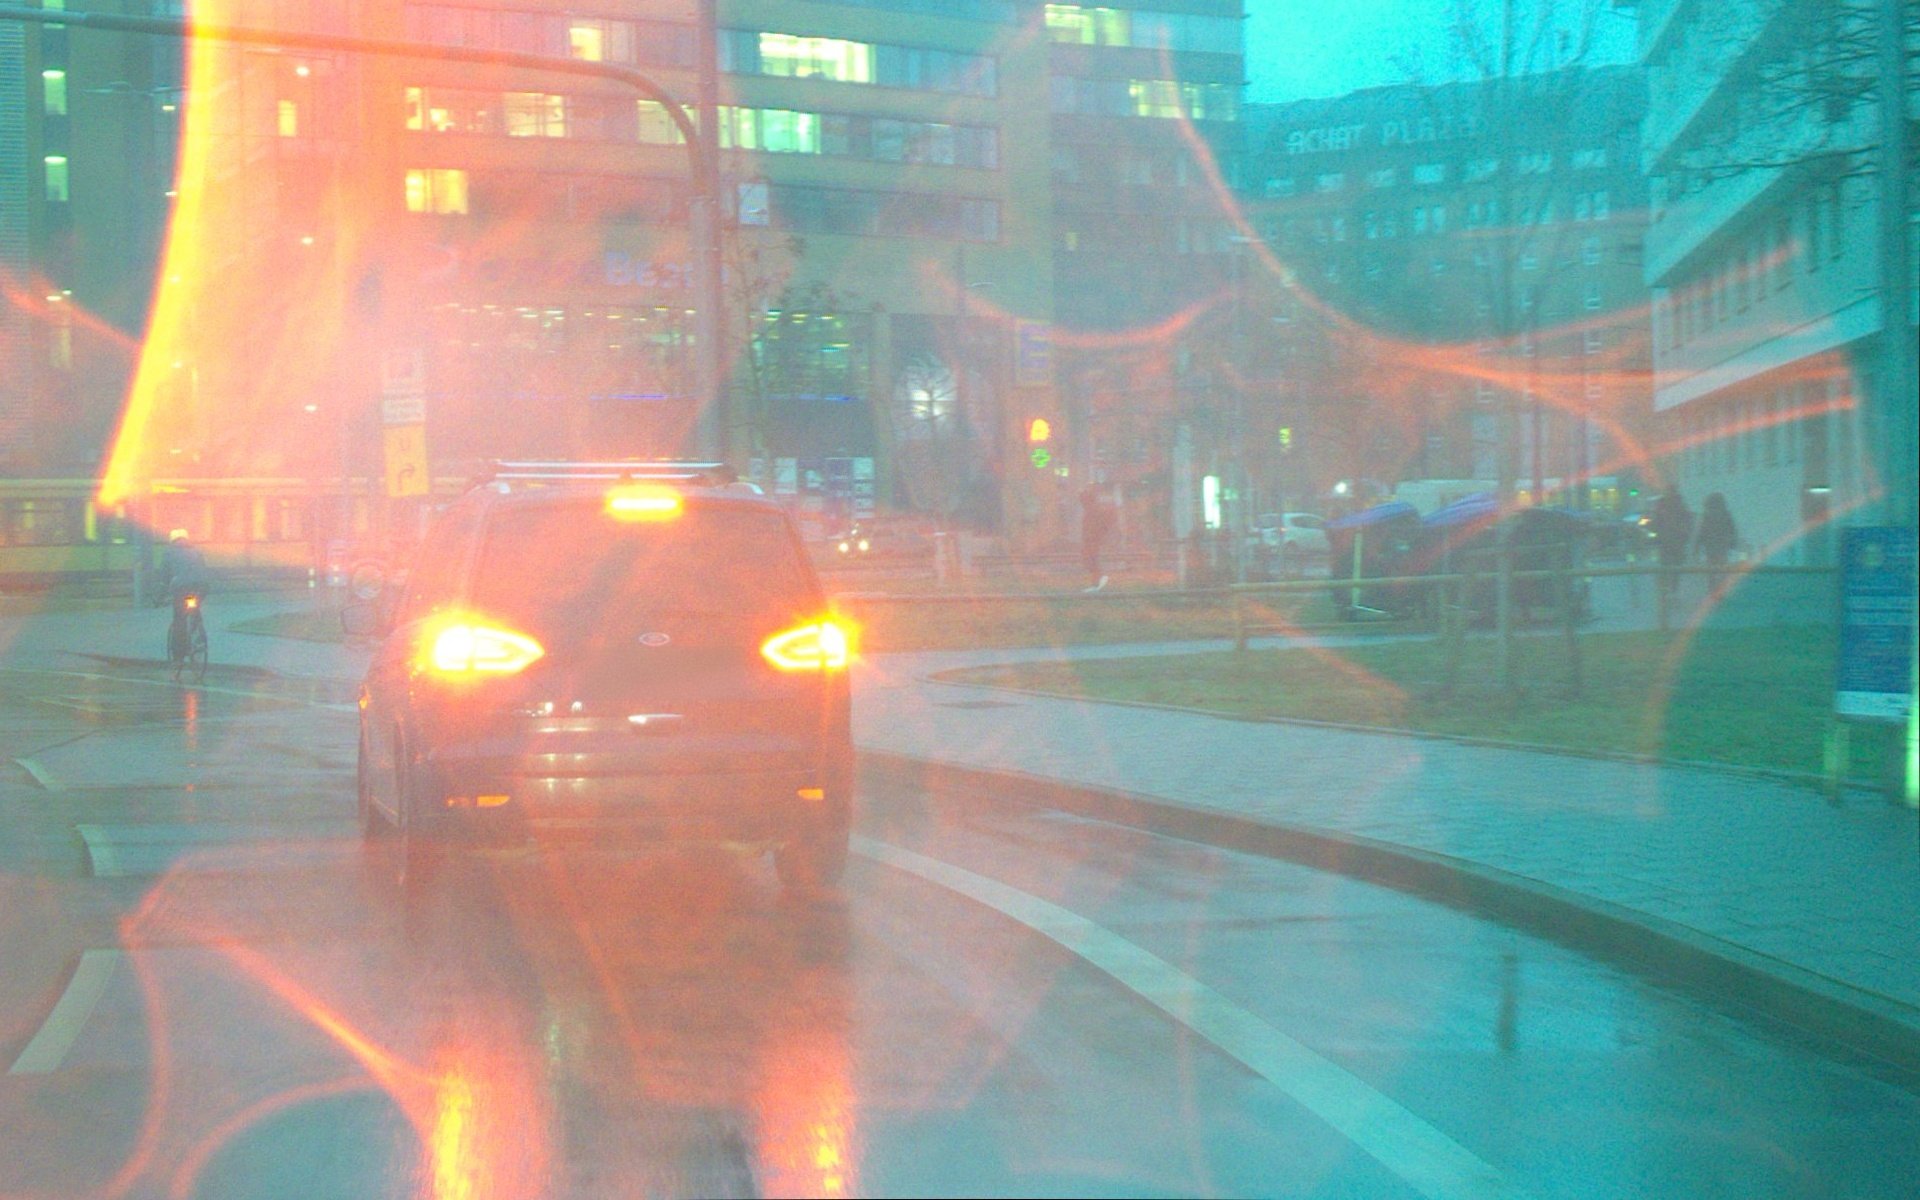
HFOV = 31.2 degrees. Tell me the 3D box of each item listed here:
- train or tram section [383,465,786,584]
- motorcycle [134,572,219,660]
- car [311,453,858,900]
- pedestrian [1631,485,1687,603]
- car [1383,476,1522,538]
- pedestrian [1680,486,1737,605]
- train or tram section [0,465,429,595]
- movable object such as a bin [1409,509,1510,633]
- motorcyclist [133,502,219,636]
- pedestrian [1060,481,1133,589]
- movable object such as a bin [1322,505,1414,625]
[{"bbox_3d":[-10.919,-2.300,101.910,12.965,3.249,2.336,-3,2,-43],"label":"train or tram section"},{"bbox_3d":[-9.138,0.174,40.145,0.852,0.968,1.582,-1,1,-10],"label":"motorcycle"},{"bbox_3d":[-1.848,0.289,15.610,1.734,1.732,4.248,1,0,-16],"label":"car"},{"bbox_3d":[10.208,-0.817,50.203,0.675,1.708,0.606,1,0,2],"label":"pedestrian"},{"bbox_3d":[17.008,-3.187,118.636,4.935,2.007,1.999,1,1,-42],"label":"car"},{"bbox_3d":[10.916,-0.790,50.169,0.675,1.708,0.629,1,0,2],"label":"pedestrian"},{"bbox_3d":[-21.891,-1.906,92.145,16.614,3.249,2.336,-3,2,-43],"label":"train or tram section"},{"bbox_3d":[6.135,-0.358,42.221,1.035,1.485,1.039,1,0,18],"label":"movable object such as a bin"},{"bbox_3d":[-9.149,-0.367,40.161,0.868,1.529,1.108,-1,1,-9],"label":"motorcyclist"},{"bbox_3d":[2.444,-1.163,61.704,1.170,1.917,0.899,1,0,-5],"label":"pedestrian"},{"bbox_3d":[5.041,-0.444,42.406,1.014,1.411,1.223,-2,1,10],"label":"movable object such as a bin"}]
